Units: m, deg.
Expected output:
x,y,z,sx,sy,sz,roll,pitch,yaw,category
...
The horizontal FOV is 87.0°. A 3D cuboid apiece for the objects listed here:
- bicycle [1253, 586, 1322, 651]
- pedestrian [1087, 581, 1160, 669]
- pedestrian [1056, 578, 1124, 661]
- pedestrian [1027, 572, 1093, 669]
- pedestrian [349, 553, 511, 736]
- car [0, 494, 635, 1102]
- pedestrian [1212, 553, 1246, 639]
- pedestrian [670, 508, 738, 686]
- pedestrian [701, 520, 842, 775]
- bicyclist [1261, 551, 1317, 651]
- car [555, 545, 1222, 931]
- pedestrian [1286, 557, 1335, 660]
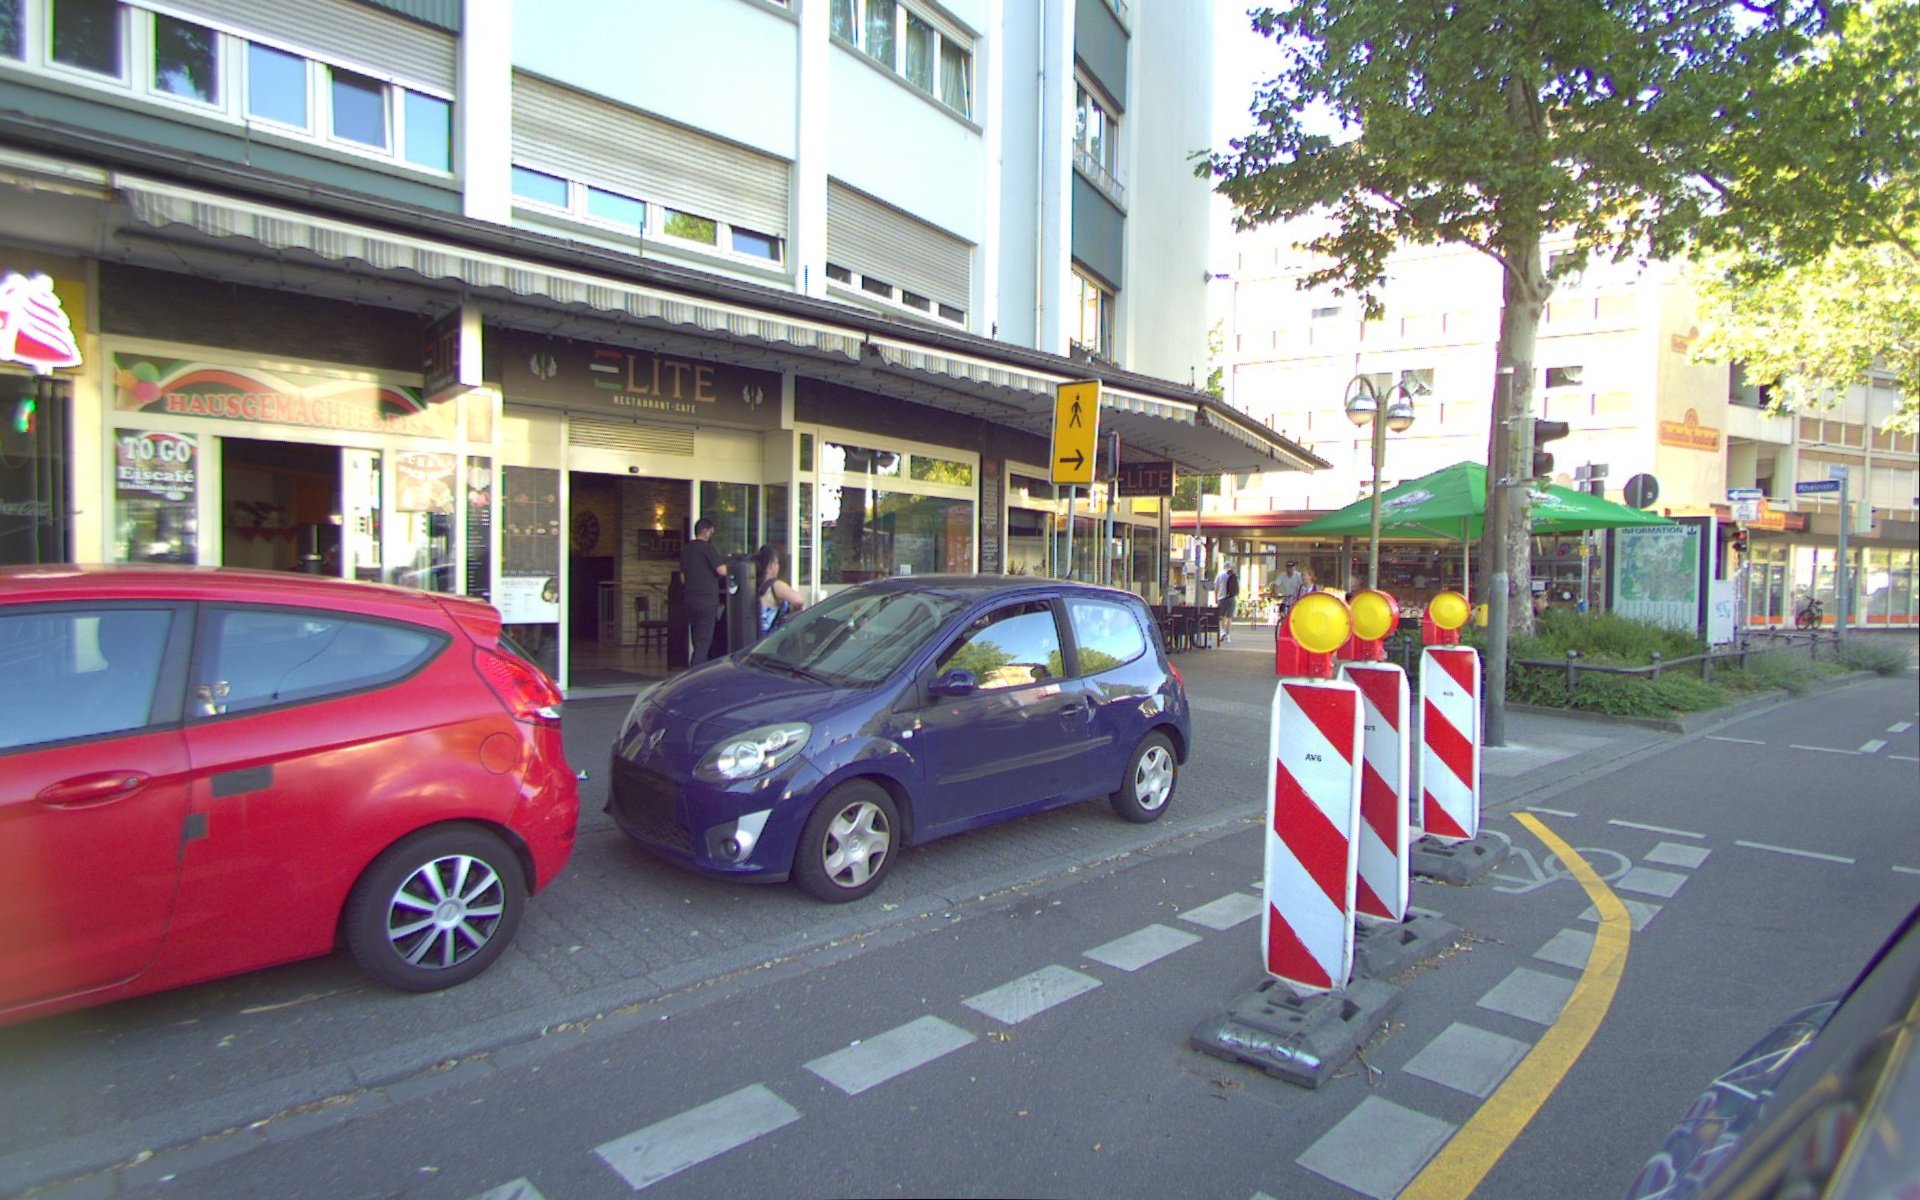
x,y,z,sx,sy,sz,roll,pitch,yaw,category
6.259,0.316,19.274,0.747,1.143,1.863,2,2,34,bicycle
2.327,0.342,14.488,0.685,1.207,0.881,0,1,-18,pedestrian
1.964,0.283,15.327,0.776,1.207,0.648,0,1,-34,pedestrian
1.405,0.279,14.328,0.685,1.323,0.793,1,1,-13,pedestrian
-4.292,0.305,8.187,0.937,1.352,1.069,0,2,-41,pedestrian
-3.233,0.469,3.237,3.761,1.614,1.784,-1,5,-45,car
6.352,-0.114,23.874,0.641,1.983,0.882,1,1,23,pedestrian
-2.667,-0.046,10.535,0.547,1.800,0.395,-1,4,-43,pedestrian
-1.315,0.295,7.074,0.783,1.667,0.583,-1,2,-42,pedestrian
6.264,0.002,19.251,0.748,1.849,0.914,2,1,34,bicyclist
-0.241,0.507,5.924,3.551,1.485,1.769,-1,5,-44,car
5.795,0.132,16.747,0.624,1.657,0.525,2,1,34,pedestrian
